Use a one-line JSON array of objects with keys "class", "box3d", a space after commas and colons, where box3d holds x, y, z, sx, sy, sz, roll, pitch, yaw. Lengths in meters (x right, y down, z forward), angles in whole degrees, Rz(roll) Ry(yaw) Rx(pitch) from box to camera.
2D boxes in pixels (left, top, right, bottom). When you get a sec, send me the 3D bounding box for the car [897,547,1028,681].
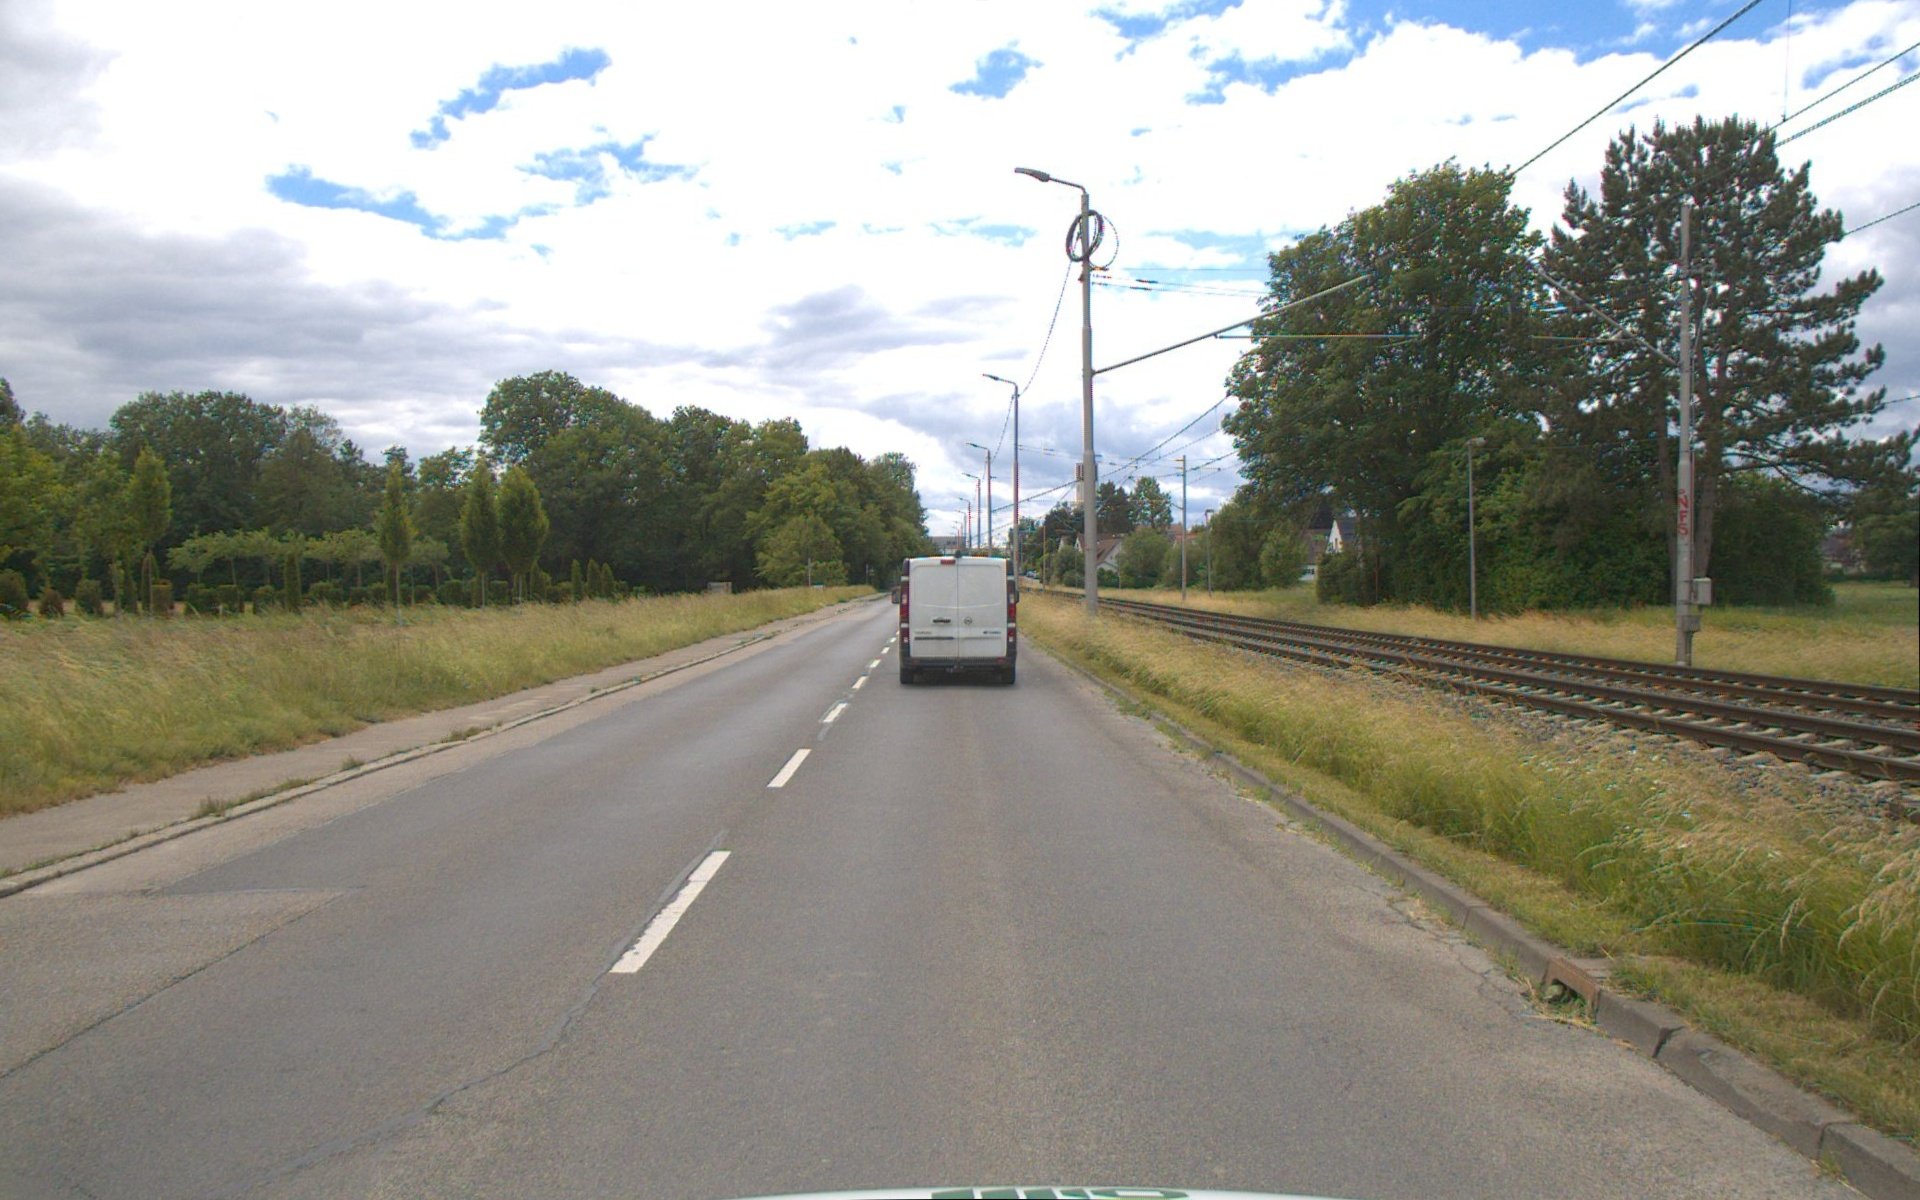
[{"class": "car", "box3d": [-0.014, 0.193, 26.827, 1.953, 1.991, 3.999, 1, 0, -2]}]
